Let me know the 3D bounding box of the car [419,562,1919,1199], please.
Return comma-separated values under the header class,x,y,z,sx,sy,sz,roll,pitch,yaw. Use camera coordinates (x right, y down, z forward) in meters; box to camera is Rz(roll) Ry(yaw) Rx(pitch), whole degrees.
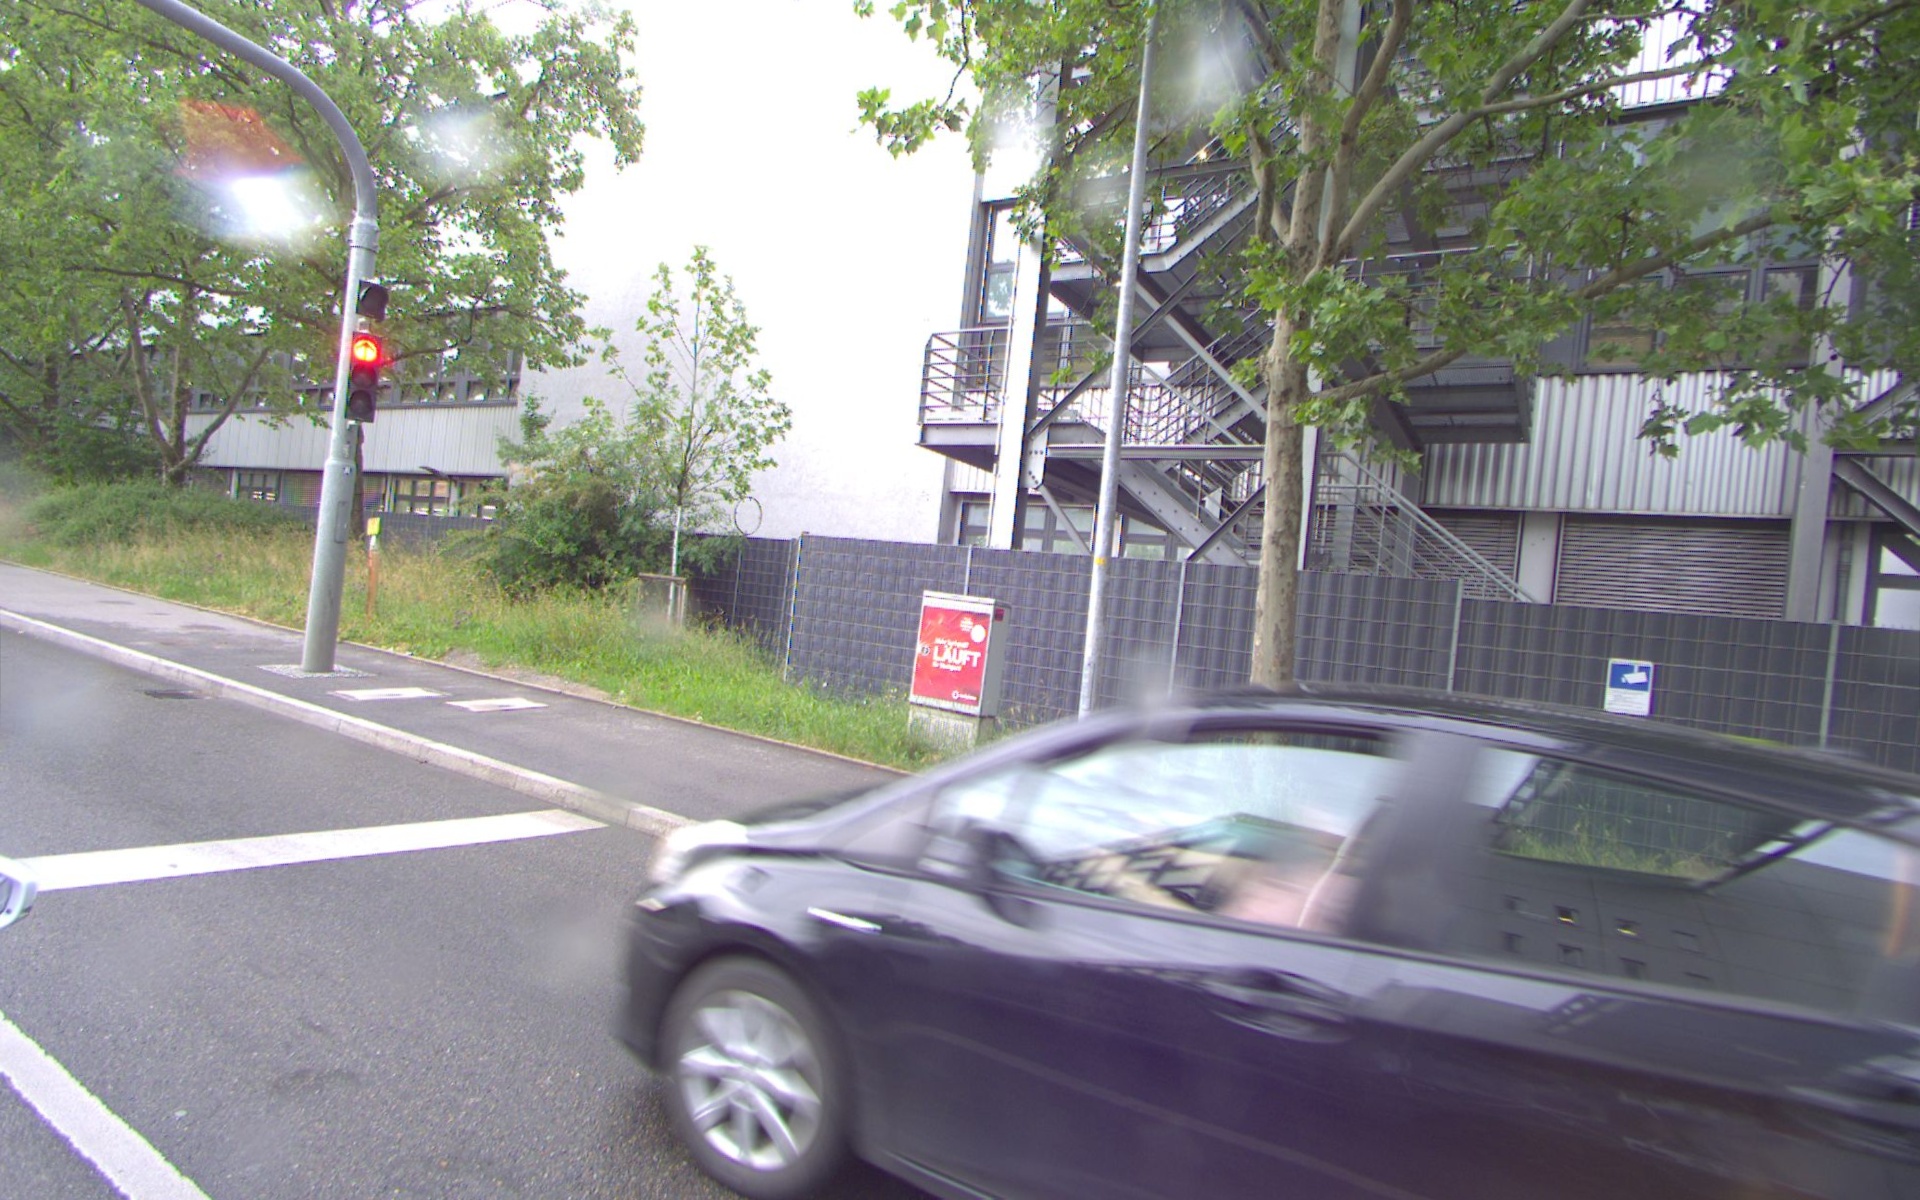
class,x,y,z,sx,sy,sz,roll,pitch,yaw
car,0.763,0.904,2.681,4.005,1.513,1.879,7,1,28
